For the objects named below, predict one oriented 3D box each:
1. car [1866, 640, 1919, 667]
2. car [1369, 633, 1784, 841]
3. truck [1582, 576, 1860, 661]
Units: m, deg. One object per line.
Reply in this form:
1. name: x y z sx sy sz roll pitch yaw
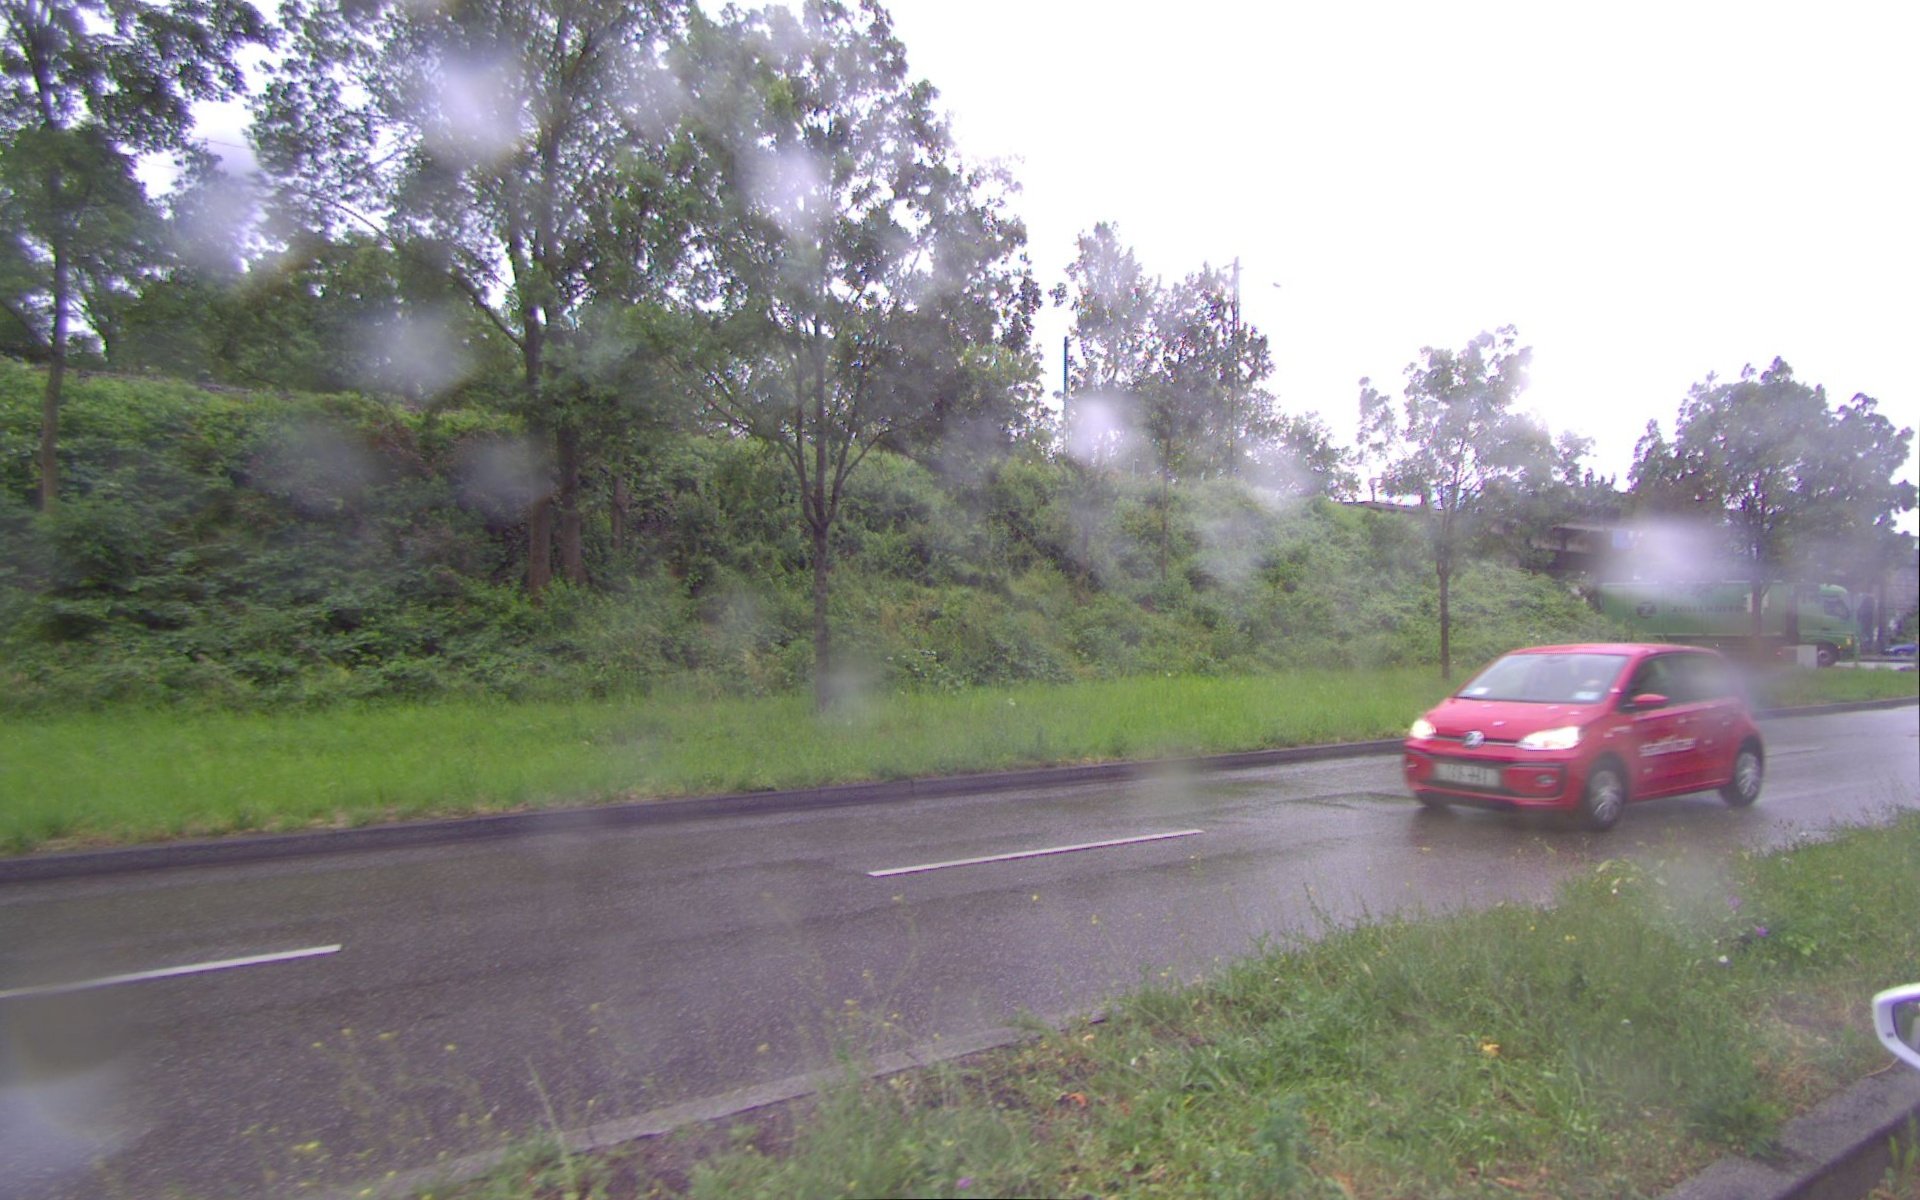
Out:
1. car: 57.215 3.218 60.367 3.883 1.545 1.769 -2 -2 35
2. car: 5.642 1.092 9.151 3.571 1.533 1.708 1 -3 -30
3. truck: 35.140 0.804 46.977 9.947 3.497 2.657 2 -1 24
